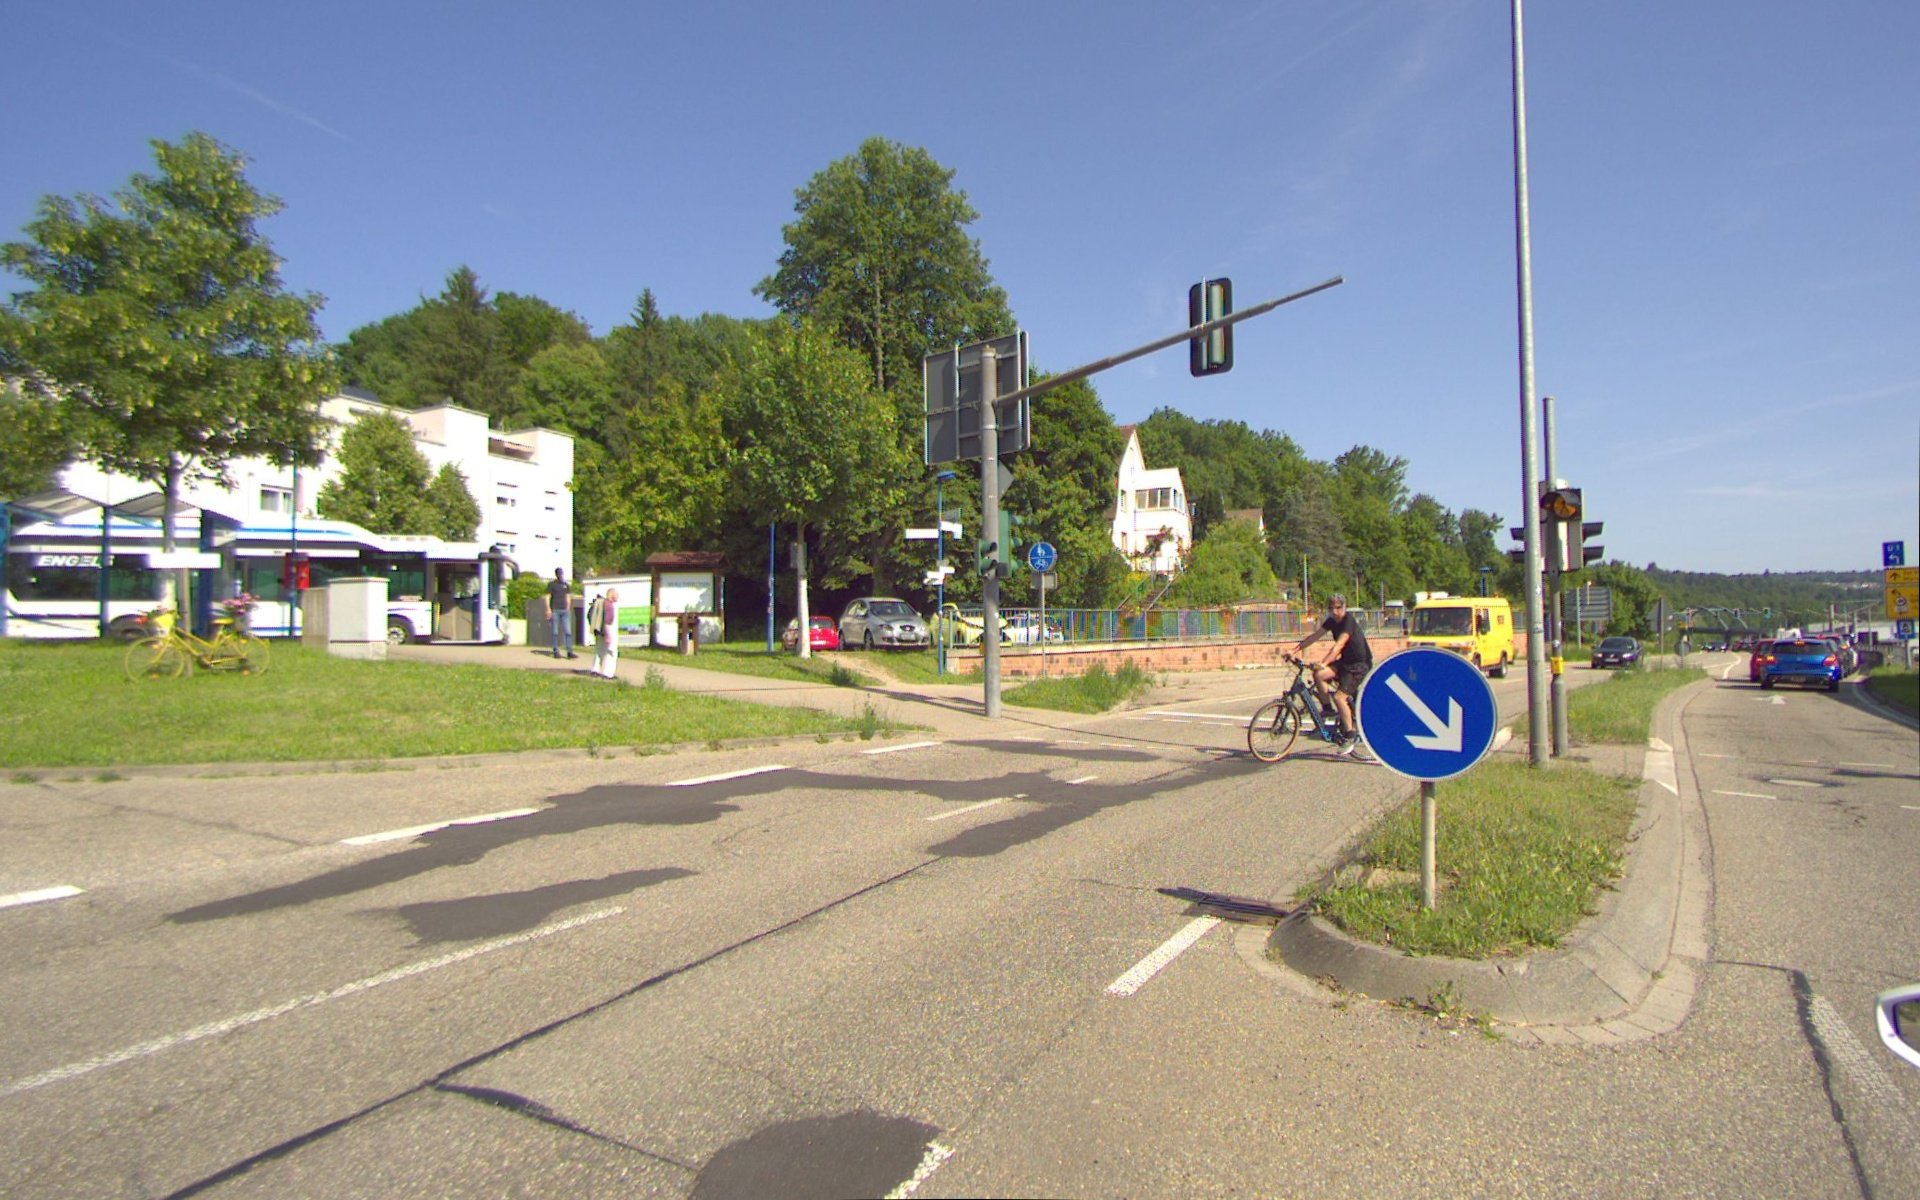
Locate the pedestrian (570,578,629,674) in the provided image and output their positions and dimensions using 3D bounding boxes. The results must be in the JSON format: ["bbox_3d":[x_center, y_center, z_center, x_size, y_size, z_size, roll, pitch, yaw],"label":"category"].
[{"bbox_3d":[-6.554,0.469,18.272,0.701,1.700,0.739,1,0,35],"label":"pedestrian"}]

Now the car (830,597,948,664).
[{"bbox_3d":[-2.098,0.808,28.428,2.027,1.719,4.391,2,0,-22],"label":"car"}]

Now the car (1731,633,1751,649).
[{"bbox_3d":[104.114,5.499,133.872,1.970,2.040,3.982,-1,-2,39],"label":"car"}]

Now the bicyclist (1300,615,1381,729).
[{"bbox_3d":[5.522,1.017,14.561,0.940,1.585,0.805,-2,-1,30],"label":"bicyclist"}]

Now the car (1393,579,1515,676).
[{"bbox_3d":[17.229,0.977,34.842,2.437,3.050,6.438,0,-2,39],"label":"car"}]

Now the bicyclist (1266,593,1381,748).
[{"bbox_3d":[4.154,0.785,11.522,0.974,1.713,0.806,1,0,-5],"label":"bicyclist"}]

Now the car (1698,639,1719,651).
[{"bbox_3d":[95.905,5.776,128.663,1.772,1.490,4.691,-1,-2,42],"label":"car"}]

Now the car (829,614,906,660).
[{"bbox_3d":[-3.843,1.474,41.181,1.888,1.723,3.974,0,0,-25],"label":"car"}]

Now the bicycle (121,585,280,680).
[{"bbox_3d":[-10.972,0.431,14.568,0.611,1.272,1.748,4,4,40],"label":"bicycle"}]

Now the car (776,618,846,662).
[{"bbox_3d":[-6.006,1.538,40.089,1.886,1.581,3.978,1,0,-22],"label":"car"}]

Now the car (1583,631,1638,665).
[{"bbox_3d":[30.108,2.191,46.429,1.724,1.481,4.026,-2,-3,38],"label":"car"}]

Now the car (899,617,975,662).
[{"bbox_3d":[-1.012,1.609,41.799,1.970,1.694,3.981,1,0,-20],"label":"car"}]

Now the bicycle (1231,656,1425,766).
[{"bbox_3d":[4.198,1.257,11.543,1.962,1.178,0.734,1,0,-5],"label":"bicycle"}]

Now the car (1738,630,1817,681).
[{"bbox_3d":[27.925,1.869,34.257,1.971,1.592,3.980,0,-2,41],"label":"car"}]

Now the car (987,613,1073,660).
[{"bbox_3d":[3.014,1.540,44.127,1.891,1.900,3.968,1,0,-30],"label":"car"}]

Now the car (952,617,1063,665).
[{"bbox_3d":[1.842,1.601,39.346,3.942,1.813,1.912,1,-2,-23],"label":"car"}]

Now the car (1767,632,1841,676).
[{"bbox_3d":[31.799,2.009,37.831,1.971,1.551,4.578,-2,-3,41],"label":"car"}]

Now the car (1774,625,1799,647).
[{"bbox_3d":[85.602,3.758,104.054,1.970,2.172,4.699,0,-2,39],"label":"car"}]

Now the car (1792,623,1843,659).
[{"bbox_3d":[45.114,2.149,52.872,1.971,1.759,3.980,1,-1,41],"label":"car"}]

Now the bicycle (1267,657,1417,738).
[{"bbox_3d":[5.553,1.390,14.625,1.937,1.078,0.734,-2,-1,29],"label":"bicycle"}]

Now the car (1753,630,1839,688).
[{"bbox_3d":[24.602,1.689,29.669,1.846,1.568,3.983,-1,-2,39],"label":"car"}]

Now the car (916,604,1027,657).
[{"bbox_3d":[0.270,0.852,29.647,1.886,1.400,3.978,1,0,-22],"label":"car"}]

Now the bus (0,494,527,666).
[{"bbox_3d":[-17.366,-0.376,24.781,12.027,3.763,2.858,1,0,-19],"label":"bus"}]

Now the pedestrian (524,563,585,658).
[{"bbox_3d":[-8.536,0.224,21.170,0.728,1.933,0.855,3,0,34],"label":"pedestrian"}]

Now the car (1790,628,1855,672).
[{"bbox_3d":[36.134,2.046,42.091,1.971,1.709,4.474,1,-1,41],"label":"car"}]
